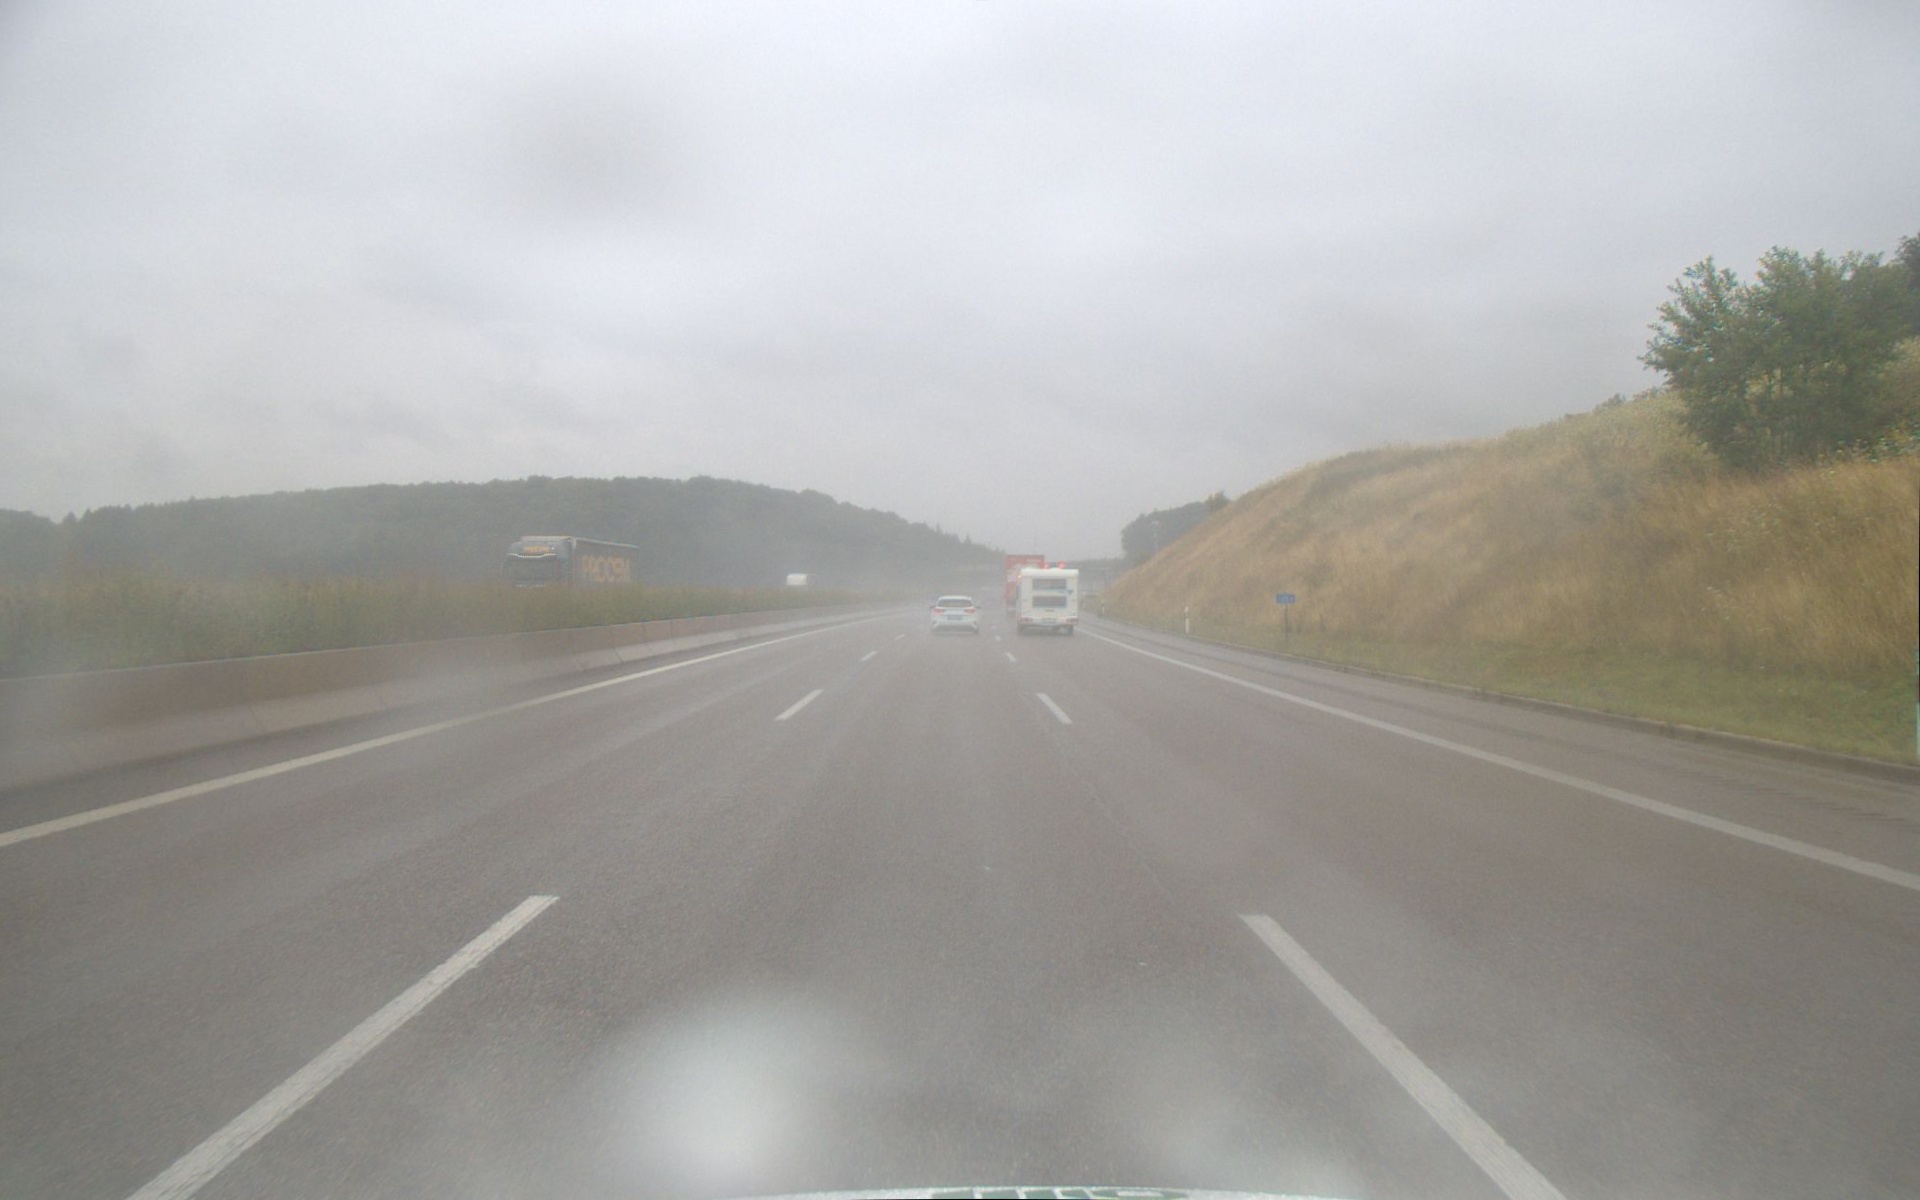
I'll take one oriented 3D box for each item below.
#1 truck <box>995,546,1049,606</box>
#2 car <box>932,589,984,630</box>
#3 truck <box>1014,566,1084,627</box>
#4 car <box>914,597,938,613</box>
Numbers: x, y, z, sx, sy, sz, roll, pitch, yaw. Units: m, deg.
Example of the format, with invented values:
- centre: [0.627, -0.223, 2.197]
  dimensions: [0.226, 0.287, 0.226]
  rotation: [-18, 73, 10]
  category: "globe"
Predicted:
- centre: [4.257, -1.630, 112.987]
  dimensions: [3.454, 3.808, 11.430]
  rotation: [1, 1, 2]
  category: "truck"
- centre: [-0.113, 0.369, 61.749]
  dimensions: [1.830, 1.488, 3.998]
  rotation: [0, -1, -2]
  category: "car"
- centre: [3.430, -0.146, 64.553]
  dimensions: [2.359, 2.292, 4.691]
  rotation: [0, 0, -2]
  category: "truck"
- centre: [-2.545, 0.391, 125.098]
  dimensions: [1.787, 1.177, 4.211]
  rotation: [1, -1, -1]
  category: "car"
